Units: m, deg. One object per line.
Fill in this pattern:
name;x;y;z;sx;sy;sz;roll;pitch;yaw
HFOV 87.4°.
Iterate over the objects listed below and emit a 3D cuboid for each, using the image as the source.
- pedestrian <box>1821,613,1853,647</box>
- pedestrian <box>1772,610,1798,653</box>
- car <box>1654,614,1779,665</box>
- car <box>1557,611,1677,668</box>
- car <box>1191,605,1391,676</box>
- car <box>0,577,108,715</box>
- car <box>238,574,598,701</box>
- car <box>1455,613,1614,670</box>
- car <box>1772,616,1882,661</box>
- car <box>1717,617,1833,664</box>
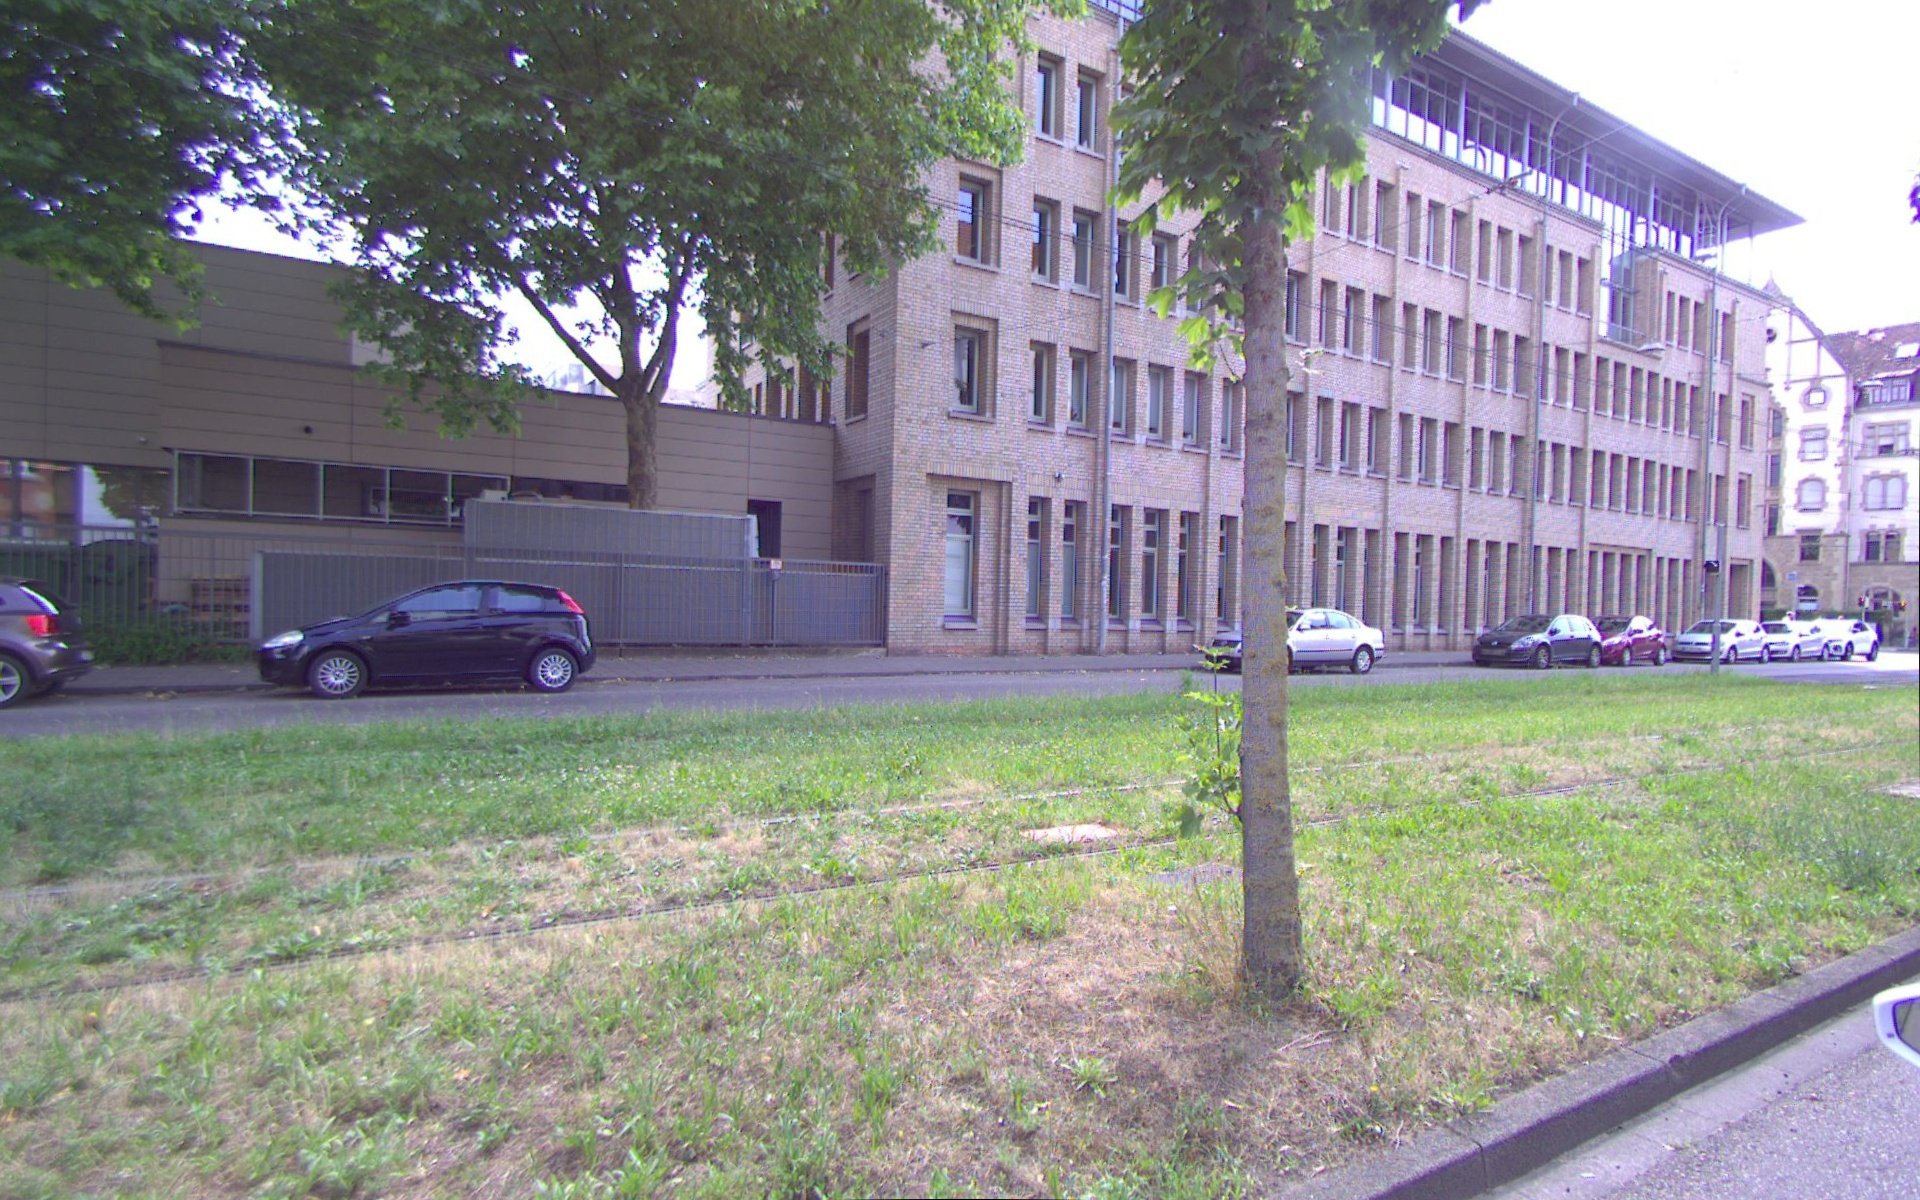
pedestrian;47.125;1.615;53.964;1.003;1.745;0.776;2;1;15
pedestrian;36.206;1.371;44.080;0.749;1.819;0.957;2;1;34
car;25.142;1.307;33.363;4.160;1.551;1.842;1;0;-30
car;19.631;1.164;30.012;3.507;1.551;1.575;1;0;-30
car;7.378;0.880;22.286;4.432;1.415;1.707;1;0;-30
car;-11.683;0.450;10.599;3.857;1.445;1.546;1;0;-31
car;-7.045;0.471;13.406;3.950;1.472;1.795;1;0;-28
car;15.772;1.112;27.545;4.189;1.415;1.924;1;0;-30
car;33.191;1.462;38.437;4.208;1.555;1.924;1;0;-30
car;29.287;1.449;36.079;3.967;1.551;1.924;1;0;-30
